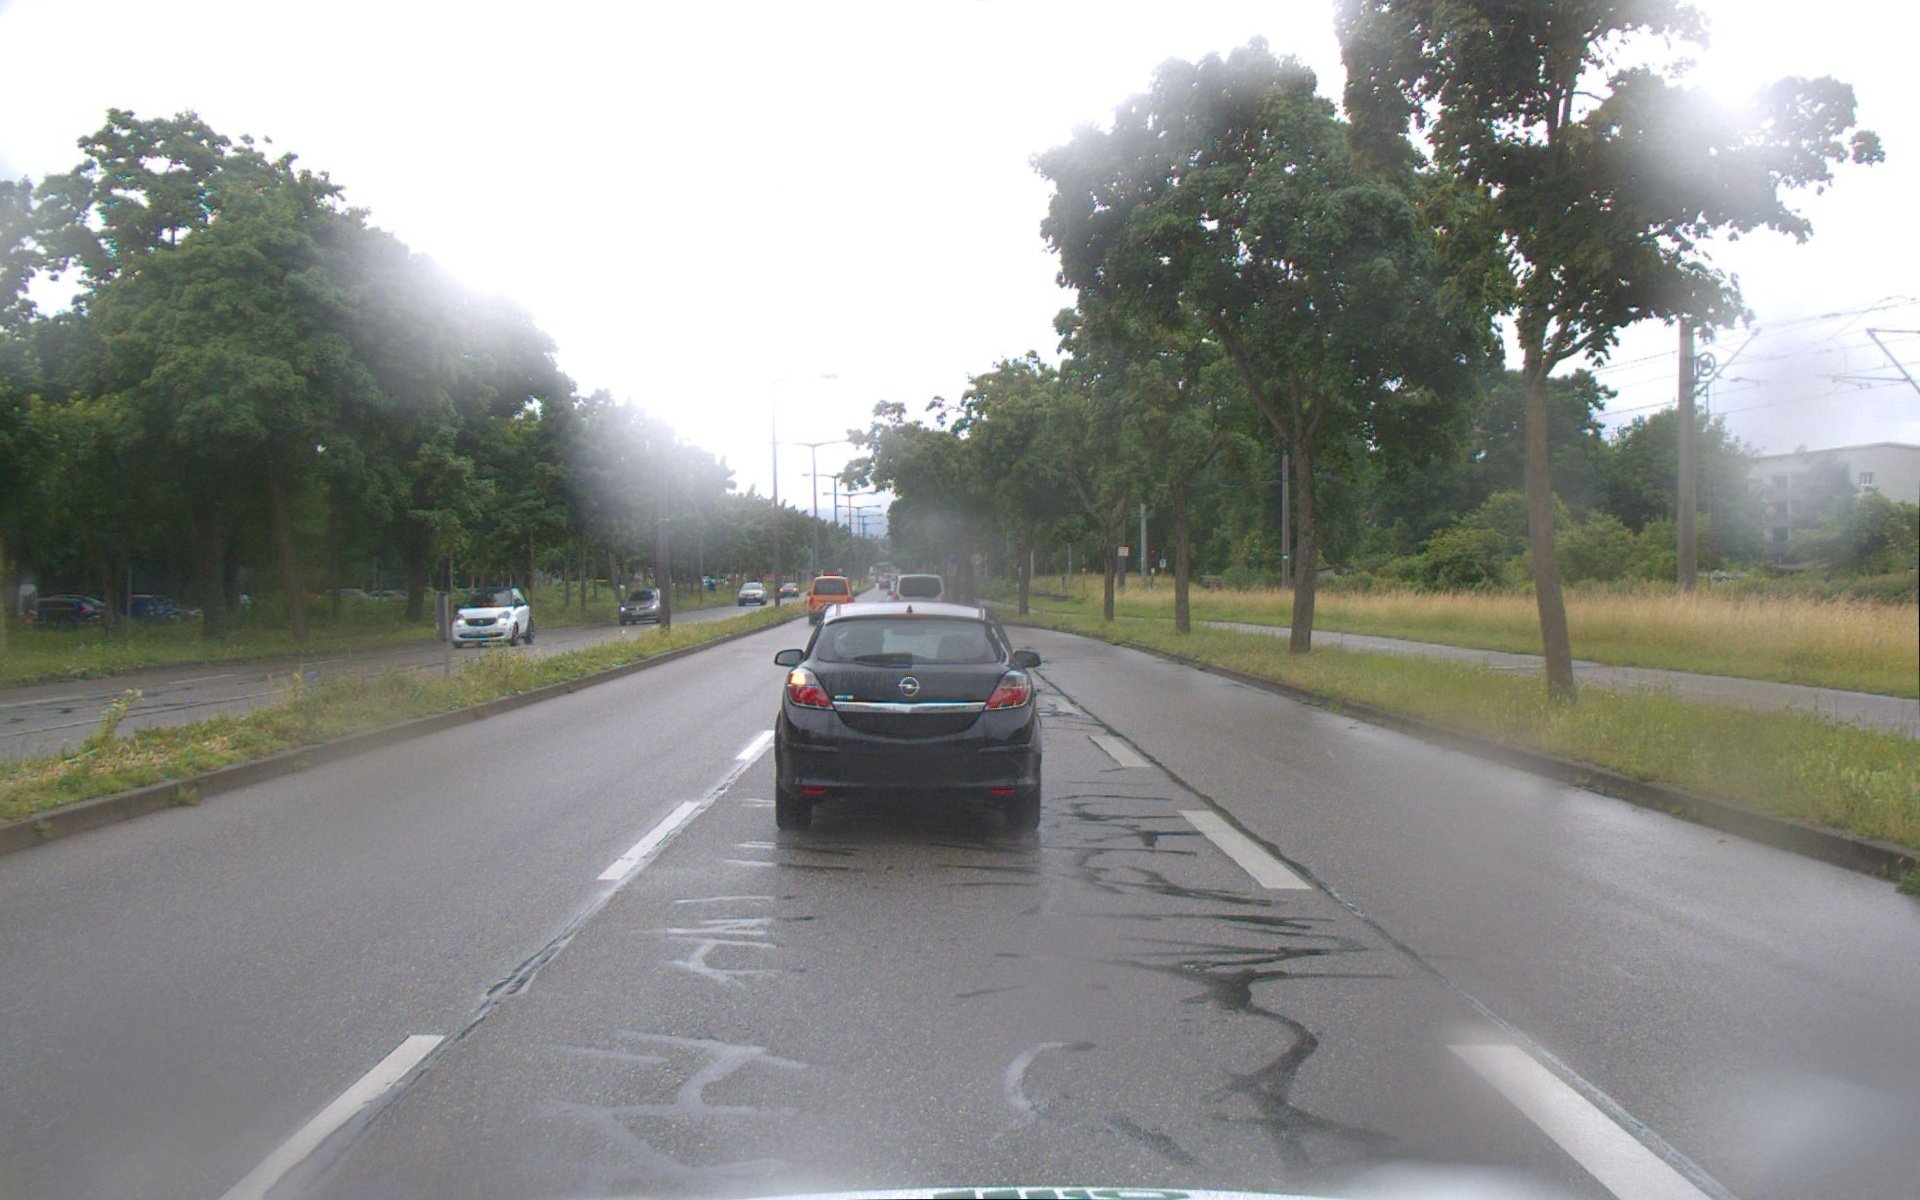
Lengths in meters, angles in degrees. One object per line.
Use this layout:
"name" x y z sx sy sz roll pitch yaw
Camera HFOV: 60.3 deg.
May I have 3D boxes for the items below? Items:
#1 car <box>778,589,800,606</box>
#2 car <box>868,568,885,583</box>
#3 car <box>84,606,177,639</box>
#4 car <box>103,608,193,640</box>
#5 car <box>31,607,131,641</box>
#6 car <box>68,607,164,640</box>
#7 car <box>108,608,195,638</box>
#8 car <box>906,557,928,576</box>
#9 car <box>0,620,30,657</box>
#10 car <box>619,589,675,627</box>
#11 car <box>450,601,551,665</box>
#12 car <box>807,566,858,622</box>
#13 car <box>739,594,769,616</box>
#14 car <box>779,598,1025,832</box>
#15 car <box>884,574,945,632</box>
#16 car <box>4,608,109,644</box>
"car" -16.500 -0.250 159.479 1.685 1.556 3.808 -1 0 0
"car" -11.200 -3.239 222.326 1.952 1.912 4.001 0 0 2
"car" -40.069 1.089 79.994 3.773 1.477 1.518 -1 0 -16
"car" -40.534 1.187 82.619 3.773 1.477 1.518 -1 0 -16
"car" -40.033 1.074 75.405 3.773 1.477 1.518 -1 0 -16
"car" -39.846 1.086 78.189 3.773 1.477 1.518 -1 0 -16
"car" -41.559 1.182 85.124 3.773 1.477 1.518 -1 0 -16
"car" -5.039 -3.920 193.093 2.465 2.088 5.293 2 1 -1
"car" -40.426 1.587 67.733 3.761 1.477 1.523 -1 0 -6
"car" -13.349 0.333 70.725 1.685 1.556 3.808 -1 0 0
"car" -12.484 0.868 45.132 1.685 1.556 3.809 -1 1 0
"car" -4.948 -0.198 64.732 1.700 2.054 4.847 3 -1 -2
"car" -14.665 0.349 118.054 1.685 1.556 3.808 -1 0 0
"car" -0.276 0.686 11.535 1.432 1.352 3.758 0 0 2
"car" -1.692 0.124 59.962 2.018 2.009 4.604 1 0 -4
"car" -39.853 1.141 73.039 3.768 1.477 1.520 -1 0 -13
